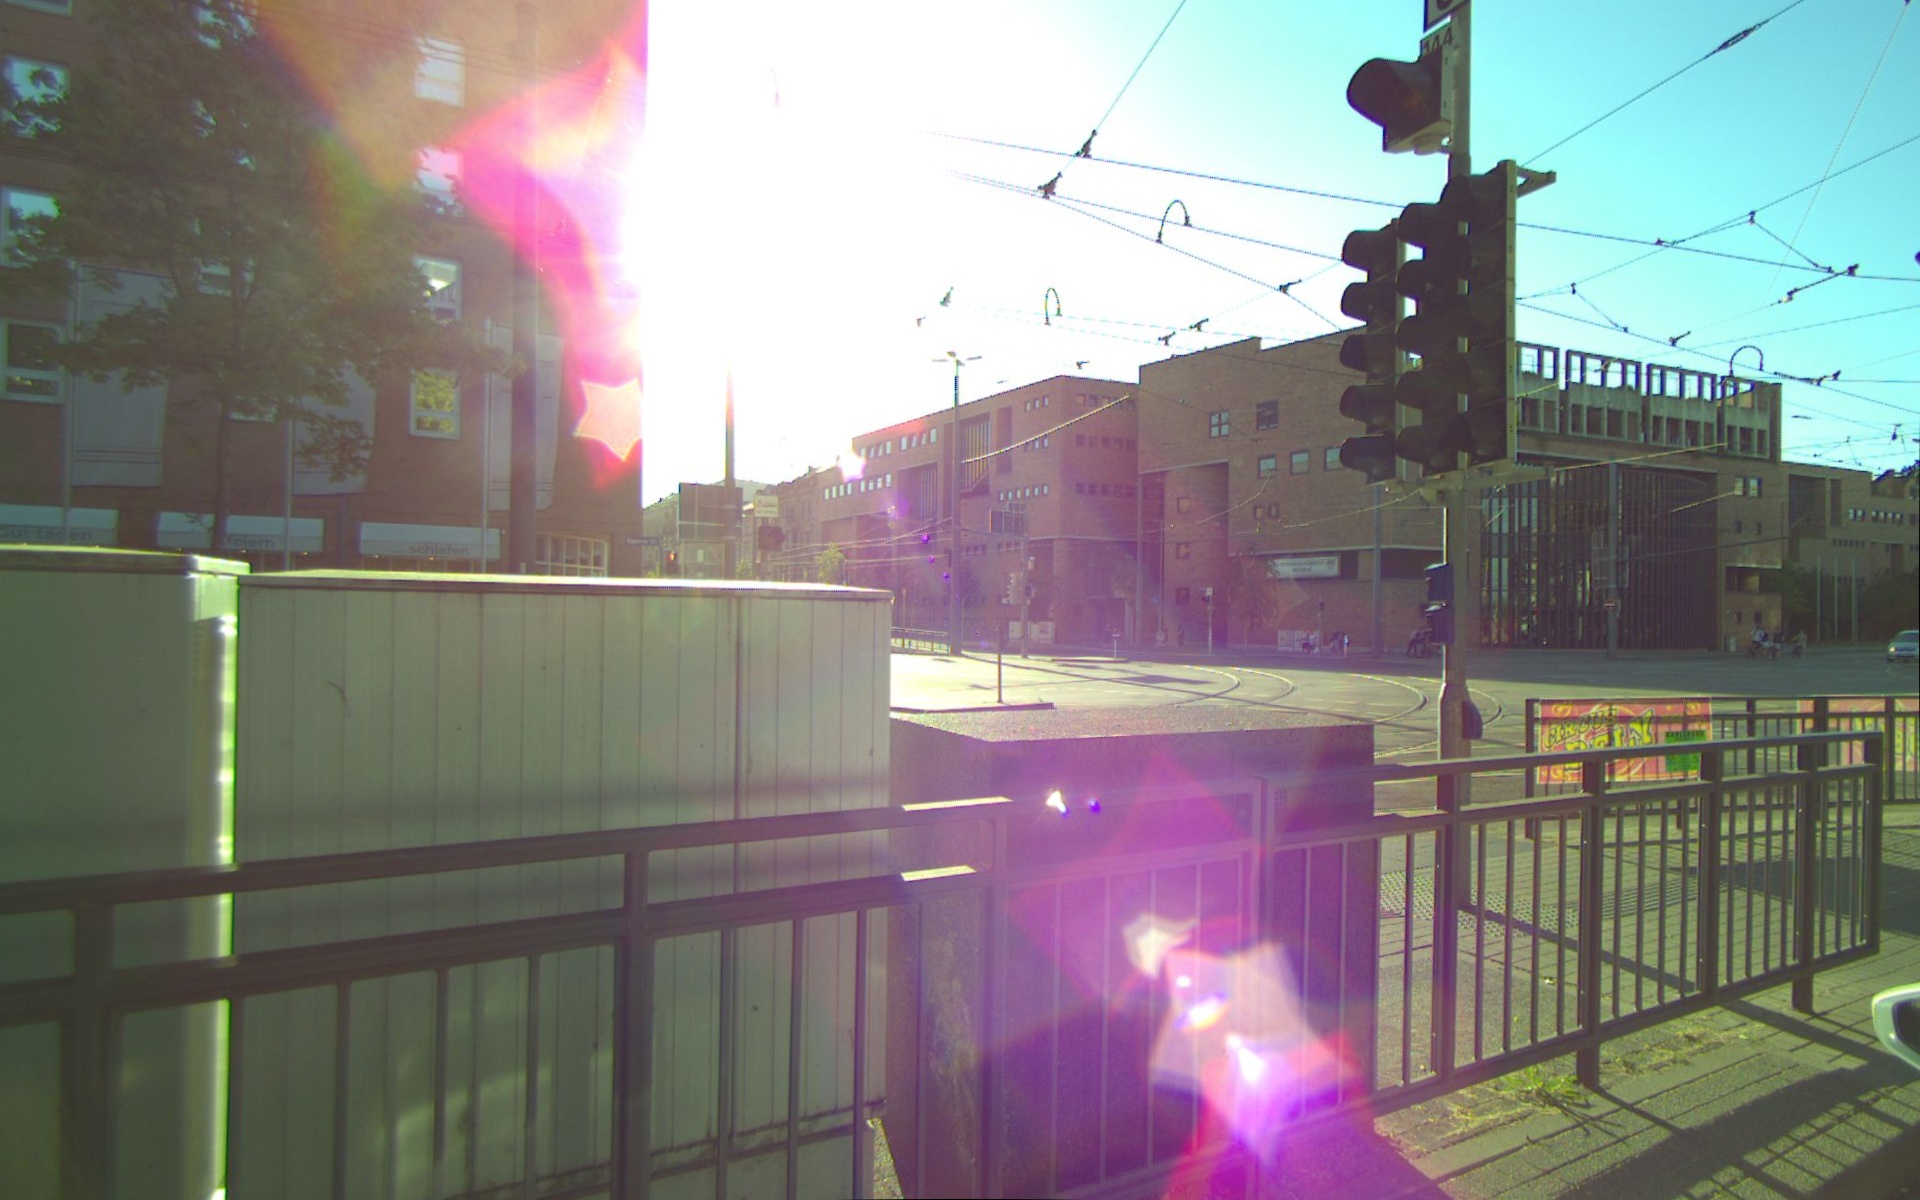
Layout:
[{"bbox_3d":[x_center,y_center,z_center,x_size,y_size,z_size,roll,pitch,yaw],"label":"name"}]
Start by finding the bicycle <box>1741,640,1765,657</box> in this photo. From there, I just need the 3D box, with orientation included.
[{"bbox_3d":[44.509,2.718,56.359,1.568,0.976,0.539,1,-1,-30],"label":"bicycle"}]

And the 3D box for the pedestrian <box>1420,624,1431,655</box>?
[{"bbox_3d":[26.039,2.226,56.182,0.540,1.706,0.592,0,-1,23],"label":"pedestrian"}]

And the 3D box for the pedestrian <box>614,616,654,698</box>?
[{"bbox_3d":[-7.465,1.294,22.992,0.713,1.837,0.904,1,-1,-28],"label":"pedestrian"}]

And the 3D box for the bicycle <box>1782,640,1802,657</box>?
[{"bbox_3d":[49.303,2.860,59.526,1.332,0.976,0.449,1,-1,-30],"label":"bicycle"}]

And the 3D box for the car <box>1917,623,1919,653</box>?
[{"bbox_3d":[55.254,2.110,55.893,3.954,1.661,1.983,1,-2,-31],"label":"car"}]

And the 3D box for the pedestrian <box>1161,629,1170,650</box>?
[{"bbox_3d":[14.915,2.844,72.853,0.523,1.482,0.590,0,-1,-4],"label":"pedestrian"}]

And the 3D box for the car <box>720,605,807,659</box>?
[{"bbox_3d":[-9.441,1.517,47.936,1.982,2.419,5.156,1,-2,-38],"label":"car"}]

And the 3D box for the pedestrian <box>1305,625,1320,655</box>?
[{"bbox_3d":[19.961,2.246,56.853,0.540,1.670,0.599,1,-1,-17],"label":"pedestrian"}]

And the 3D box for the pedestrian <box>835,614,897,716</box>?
[{"bbox_3d":[-1.612,1.089,17.158,0.709,1.669,0.953,1,-1,-30],"label":"pedestrian"}]

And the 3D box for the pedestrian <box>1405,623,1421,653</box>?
[{"bbox_3d":[25.887,2.171,57.379,0.609,1.706,0.651,0,-1,3],"label":"pedestrian"}]

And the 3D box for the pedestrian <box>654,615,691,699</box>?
[{"bbox_3d":[-6.509,1.269,22.724,0.647,1.864,0.835,1,-1,-28],"label":"pedestrian"}]

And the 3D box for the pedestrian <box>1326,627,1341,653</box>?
[{"bbox_3d":[21.437,2.310,57.648,0.607,1.473,0.565,1,-1,-29],"label":"pedestrian"}]

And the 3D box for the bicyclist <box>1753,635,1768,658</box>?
[{"bbox_3d":[46.731,2.708,58.612,0.574,1.321,0.503,1,-1,-30],"label":"bicyclist"}]

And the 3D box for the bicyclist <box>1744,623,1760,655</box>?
[{"bbox_3d":[44.424,2.186,56.328,0.574,1.754,0.534,1,-1,-30],"label":"bicyclist"}]

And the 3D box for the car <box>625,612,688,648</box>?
[{"bbox_3d":[-18.559,1.805,61.257,1.982,2.122,5.156,1,-2,-38],"label":"car"}]

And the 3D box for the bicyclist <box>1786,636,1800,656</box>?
[{"bbox_3d":[49.371,2.734,59.531,0.574,1.194,0.503,1,-1,-30],"label":"bicyclist"}]

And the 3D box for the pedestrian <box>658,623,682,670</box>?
[{"bbox_3d":[-10.551,1.683,36.578,0.658,1.669,0.638,1,-1,-34],"label":"pedestrian"}]

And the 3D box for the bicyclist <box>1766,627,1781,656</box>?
[{"bbox_3d":[45.080,2.301,55.673,0.574,1.624,0.456,1,-1,-30],"label":"bicyclist"}]

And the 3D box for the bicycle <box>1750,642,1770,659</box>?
[{"bbox_3d":[46.633,2.944,58.571,1.304,0.976,0.465,1,-1,-30],"label":"bicycle"}]

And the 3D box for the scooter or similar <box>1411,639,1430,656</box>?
[{"bbox_3d":[25.379,2.638,55.373,0.931,0.911,0.176,0,-1,14],"label":"scooter or similar"}]

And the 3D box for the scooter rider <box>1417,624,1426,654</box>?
[{"bbox_3d":[25.429,2.161,55.378,0.429,1.669,0.229,0,-1,15],"label":"scooter rider"}]

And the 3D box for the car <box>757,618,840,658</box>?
[{"bbox_3d":[-8.385,1.909,51.759,1.982,1.928,5.156,1,-2,-38],"label":"car"}]

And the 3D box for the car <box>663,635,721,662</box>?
[{"bbox_3d":[-14.406,2.565,53.886,1.729,1.372,3.960,1,-2,-36],"label":"car"}]

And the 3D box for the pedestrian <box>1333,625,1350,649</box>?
[{"bbox_3d":[21.466,2.072,56.514,0.670,1.357,0.603,1,-1,-14],"label":"pedestrian"}]

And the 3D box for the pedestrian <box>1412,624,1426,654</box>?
[{"bbox_3d":[26.784,2.283,58.621,0.539,1.706,0.573,0,-1,-6],"label":"pedestrian"}]

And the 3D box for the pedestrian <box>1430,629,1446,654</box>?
[{"bbox_3d":[27.203,2.368,57.133,0.588,1.440,0.642,1,-1,-5],"label":"pedestrian"}]

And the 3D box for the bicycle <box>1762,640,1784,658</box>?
[{"bbox_3d":[45.110,2.704,55.730,1.557,0.976,0.470,1,-1,-30],"label":"bicycle"}]

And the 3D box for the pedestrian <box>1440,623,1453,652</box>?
[{"bbox_3d":[28.034,2.164,57.866,0.606,1.647,0.613,0,-1,20],"label":"pedestrian"}]

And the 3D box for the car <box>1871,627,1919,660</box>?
[{"bbox_3d":[48.984,2.223,51.779,3.954,1.661,1.983,1,-2,-31],"label":"car"}]

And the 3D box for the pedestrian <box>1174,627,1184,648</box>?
[{"bbox_3d":[15.354,2.638,70.562,0.463,1.482,0.505,1,-1,-37],"label":"pedestrian"}]

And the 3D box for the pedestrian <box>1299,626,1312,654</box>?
[{"bbox_3d":[19.842,2.296,57.686,0.578,1.635,0.598,0,-1,-1],"label":"pedestrian"}]
